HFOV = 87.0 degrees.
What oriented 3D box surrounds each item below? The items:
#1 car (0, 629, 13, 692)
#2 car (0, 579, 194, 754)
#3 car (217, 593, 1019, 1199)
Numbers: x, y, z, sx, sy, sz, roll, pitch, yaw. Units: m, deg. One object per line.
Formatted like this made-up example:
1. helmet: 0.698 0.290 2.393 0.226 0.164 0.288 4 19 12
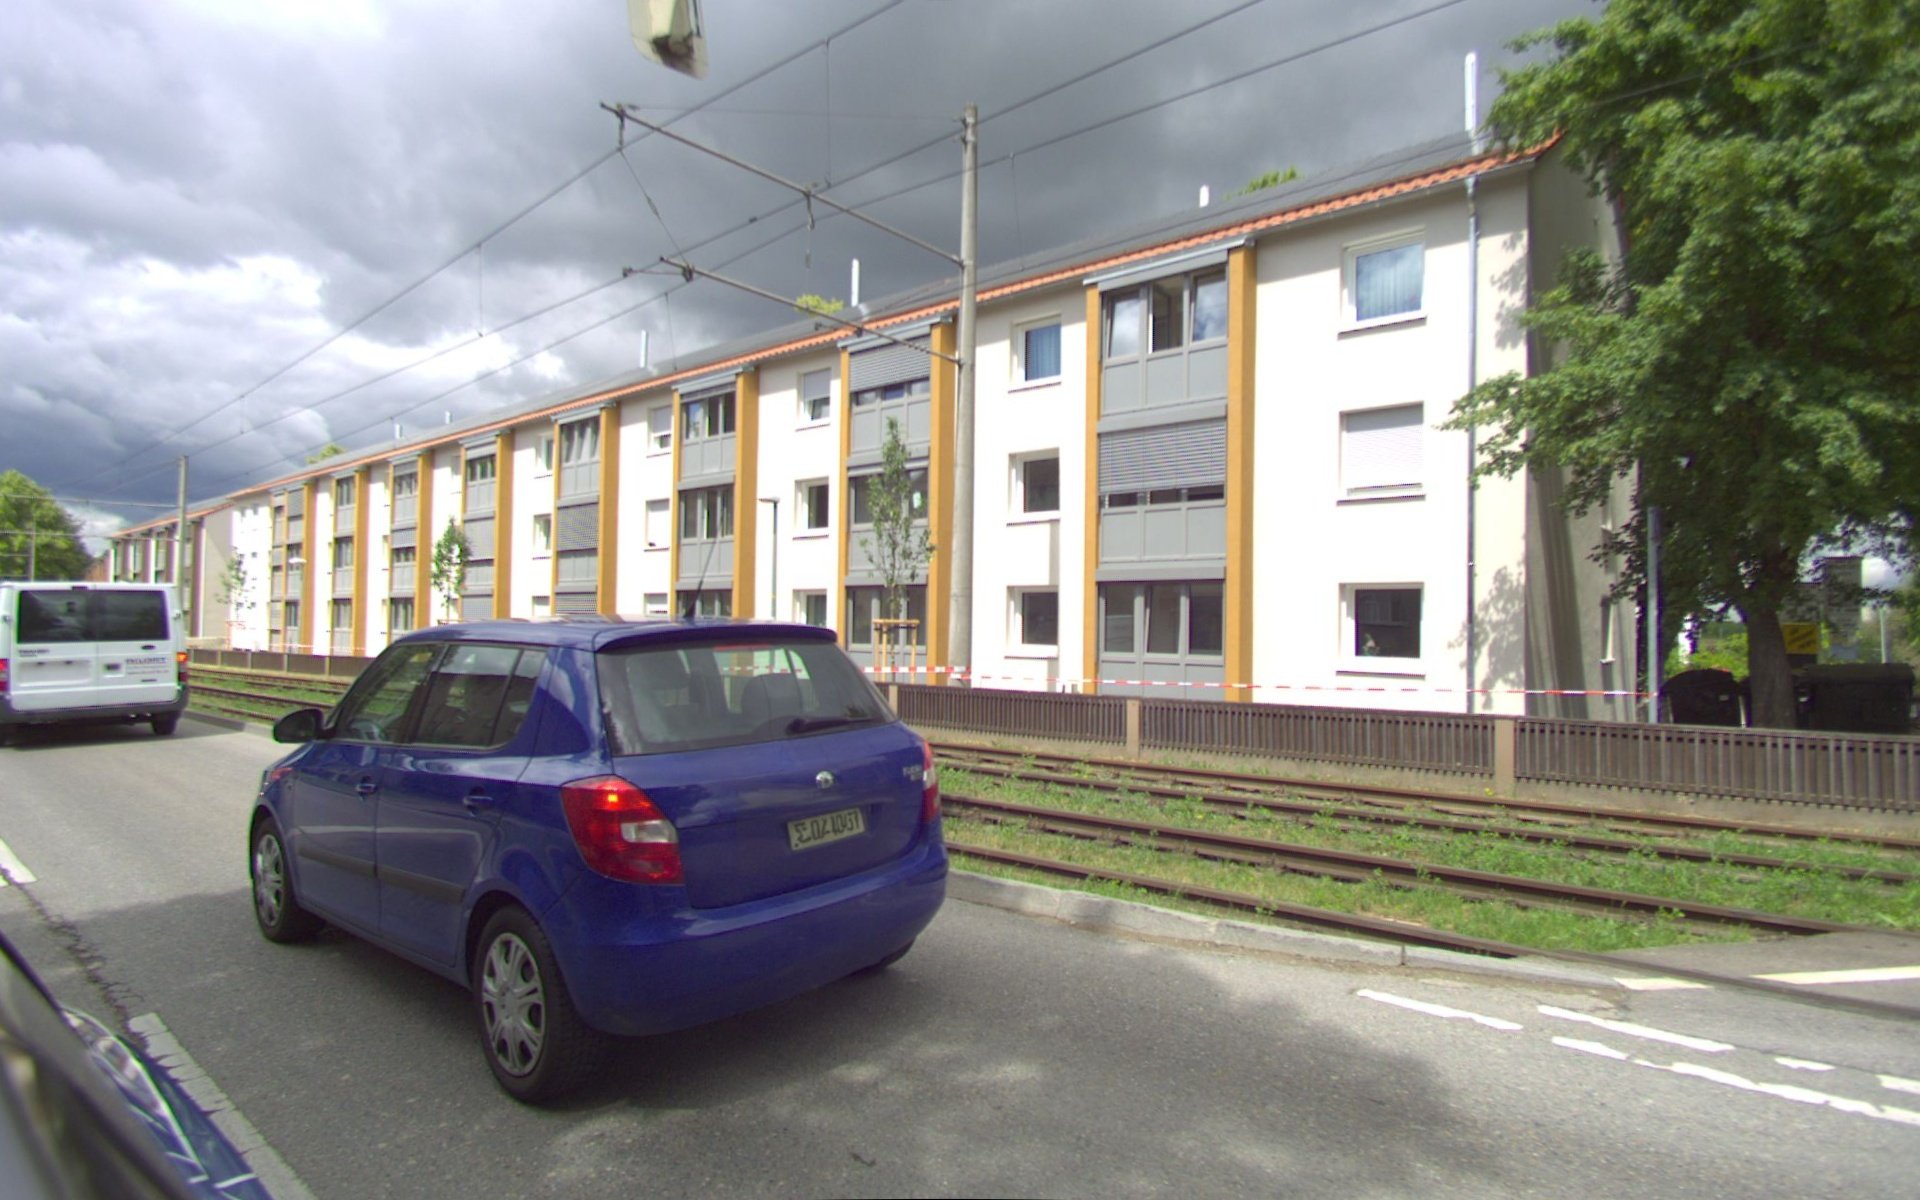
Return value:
1. car: -23.924 1.431 24.194 3.647 1.424 1.592 -1 0 42
2. car: -12.341 0.809 13.830 4.782 2.011 1.973 -1 -1 40
3. car: -1.734 0.768 4.353 3.804 1.497 1.565 -2 -1 41
